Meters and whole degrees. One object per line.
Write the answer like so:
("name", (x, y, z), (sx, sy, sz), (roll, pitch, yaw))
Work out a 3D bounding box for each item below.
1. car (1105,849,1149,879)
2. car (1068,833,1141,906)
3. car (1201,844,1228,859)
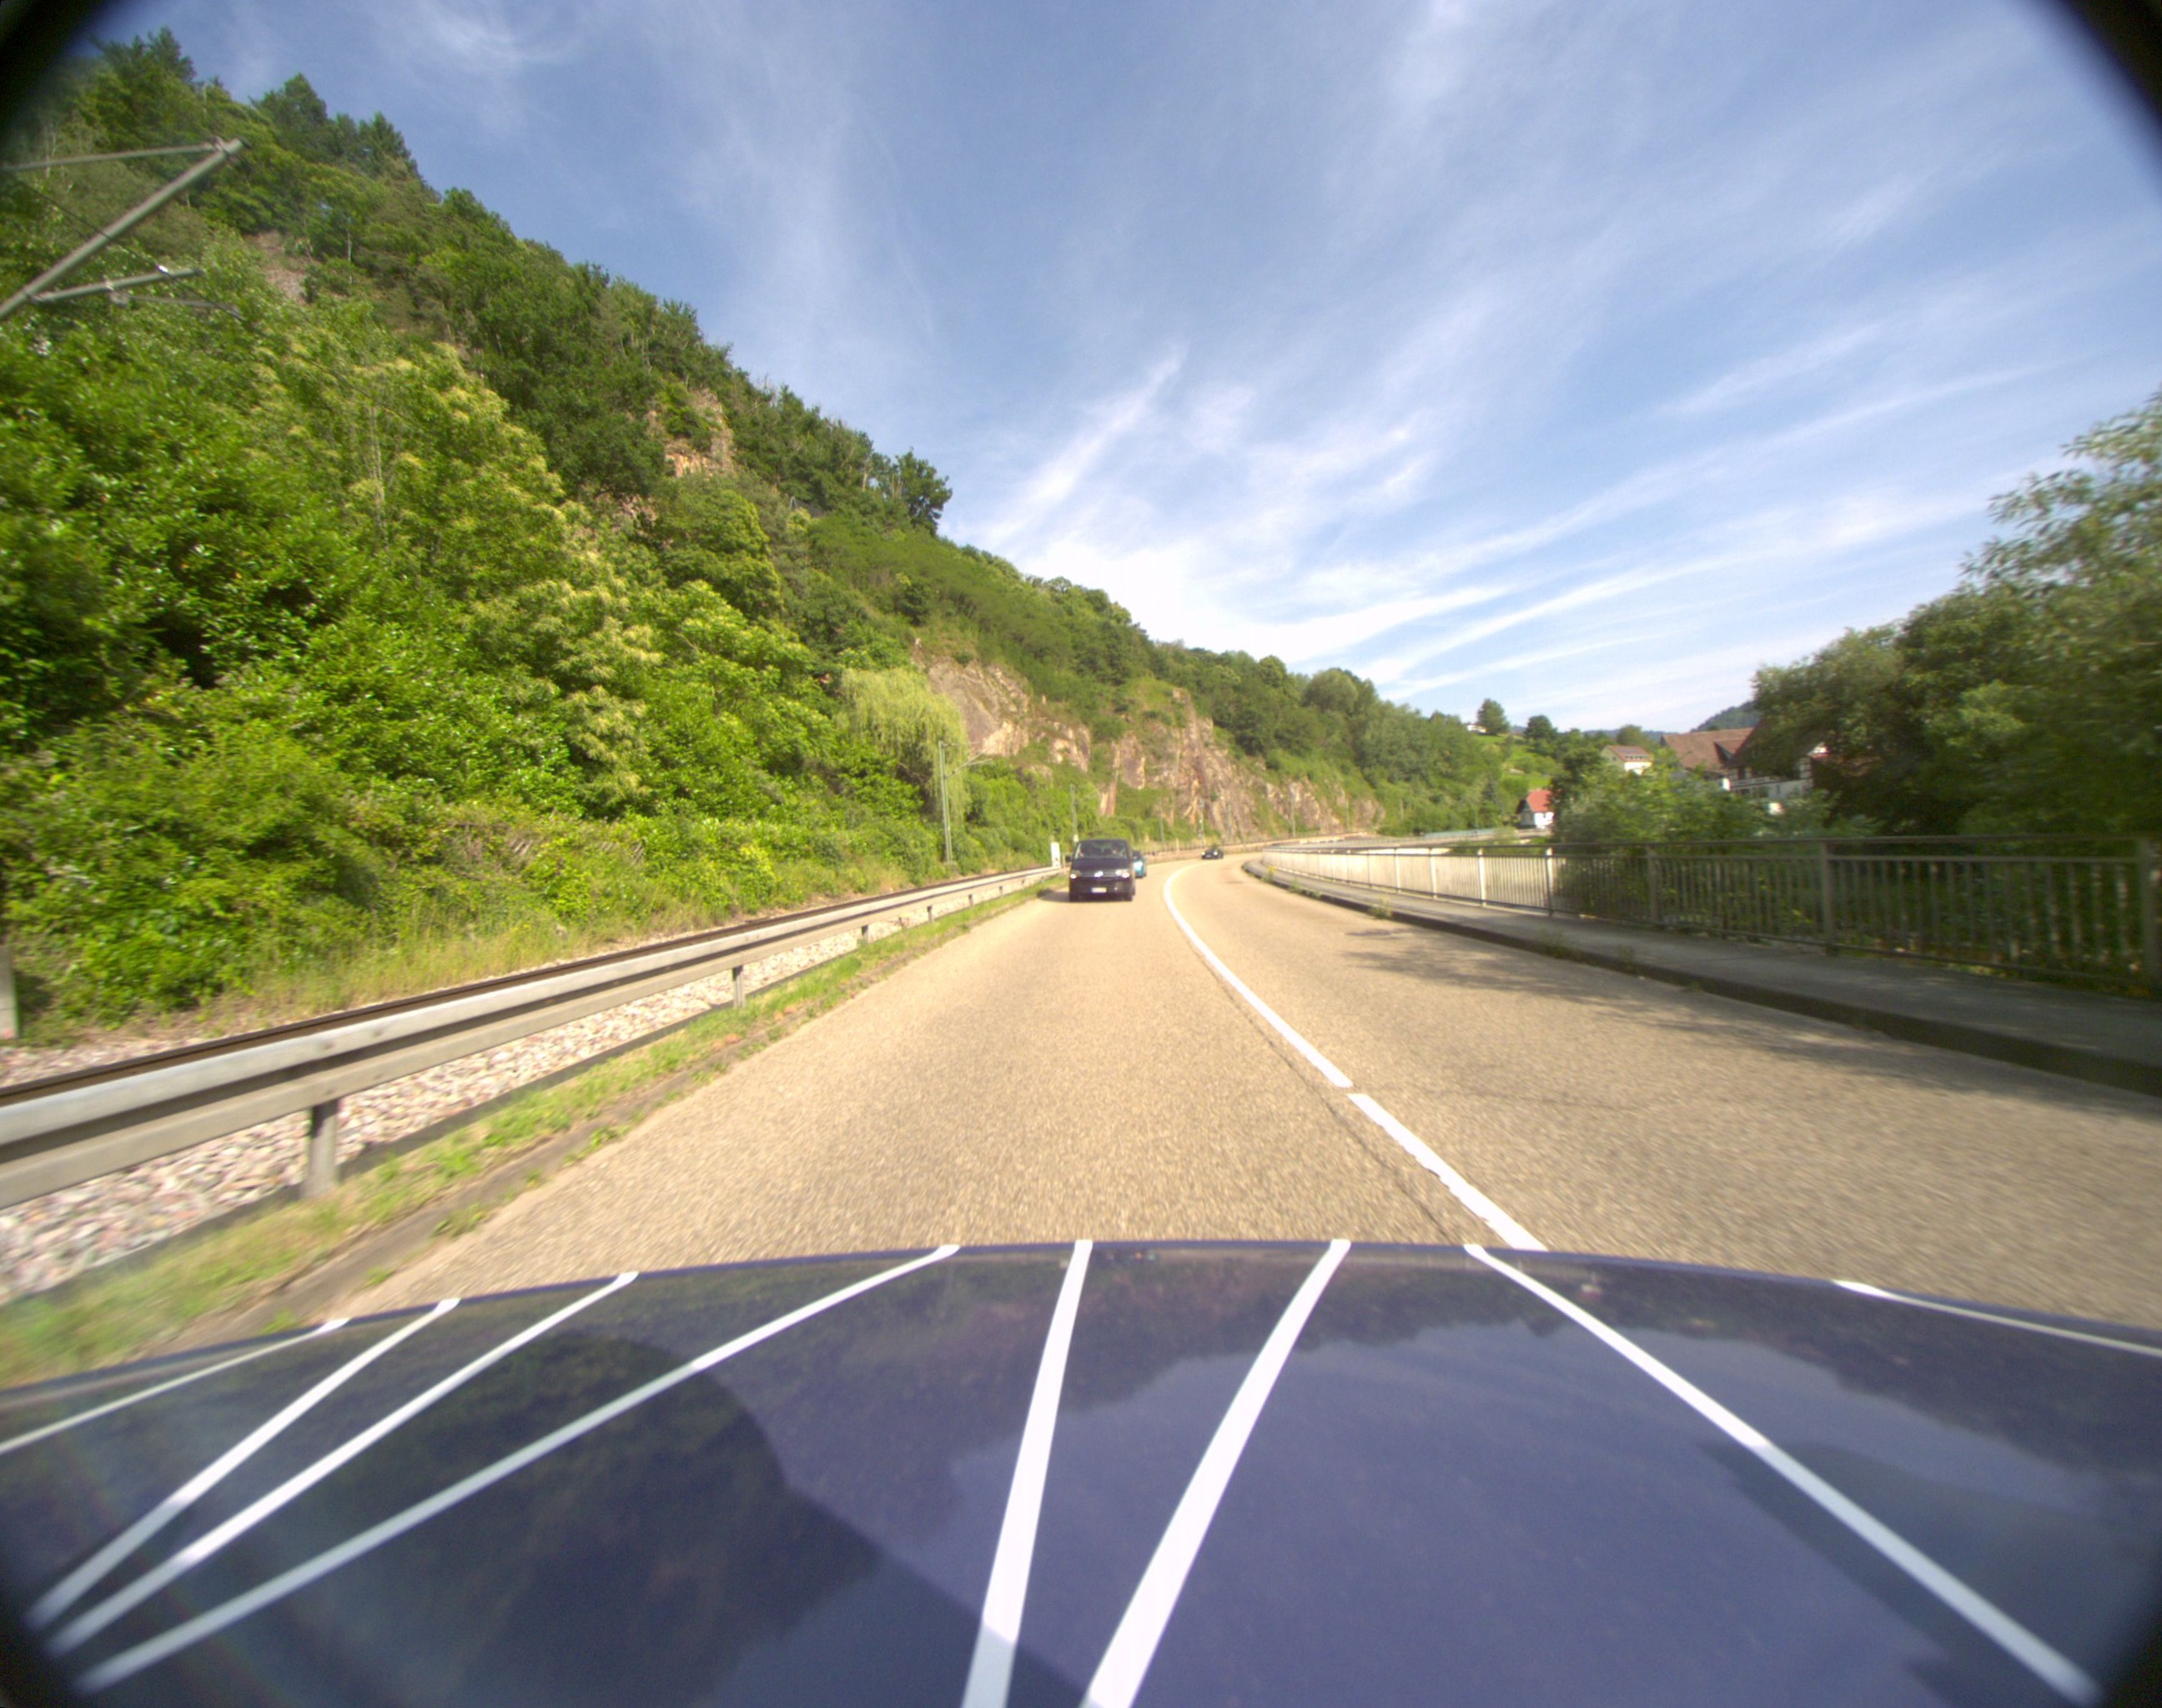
("car", (2.557, 0.504, 41.370), (1.997, 1.486, 4.222), (-2, 1, 8))
("car", (0.811, 0.483, 23.849), (1.998, 2.001, 4.002), (-3, -1, 4))
("car", (15.029, -0.290, 85.472), (1.995, 1.486, 4.226), (-2, 1, 23))
